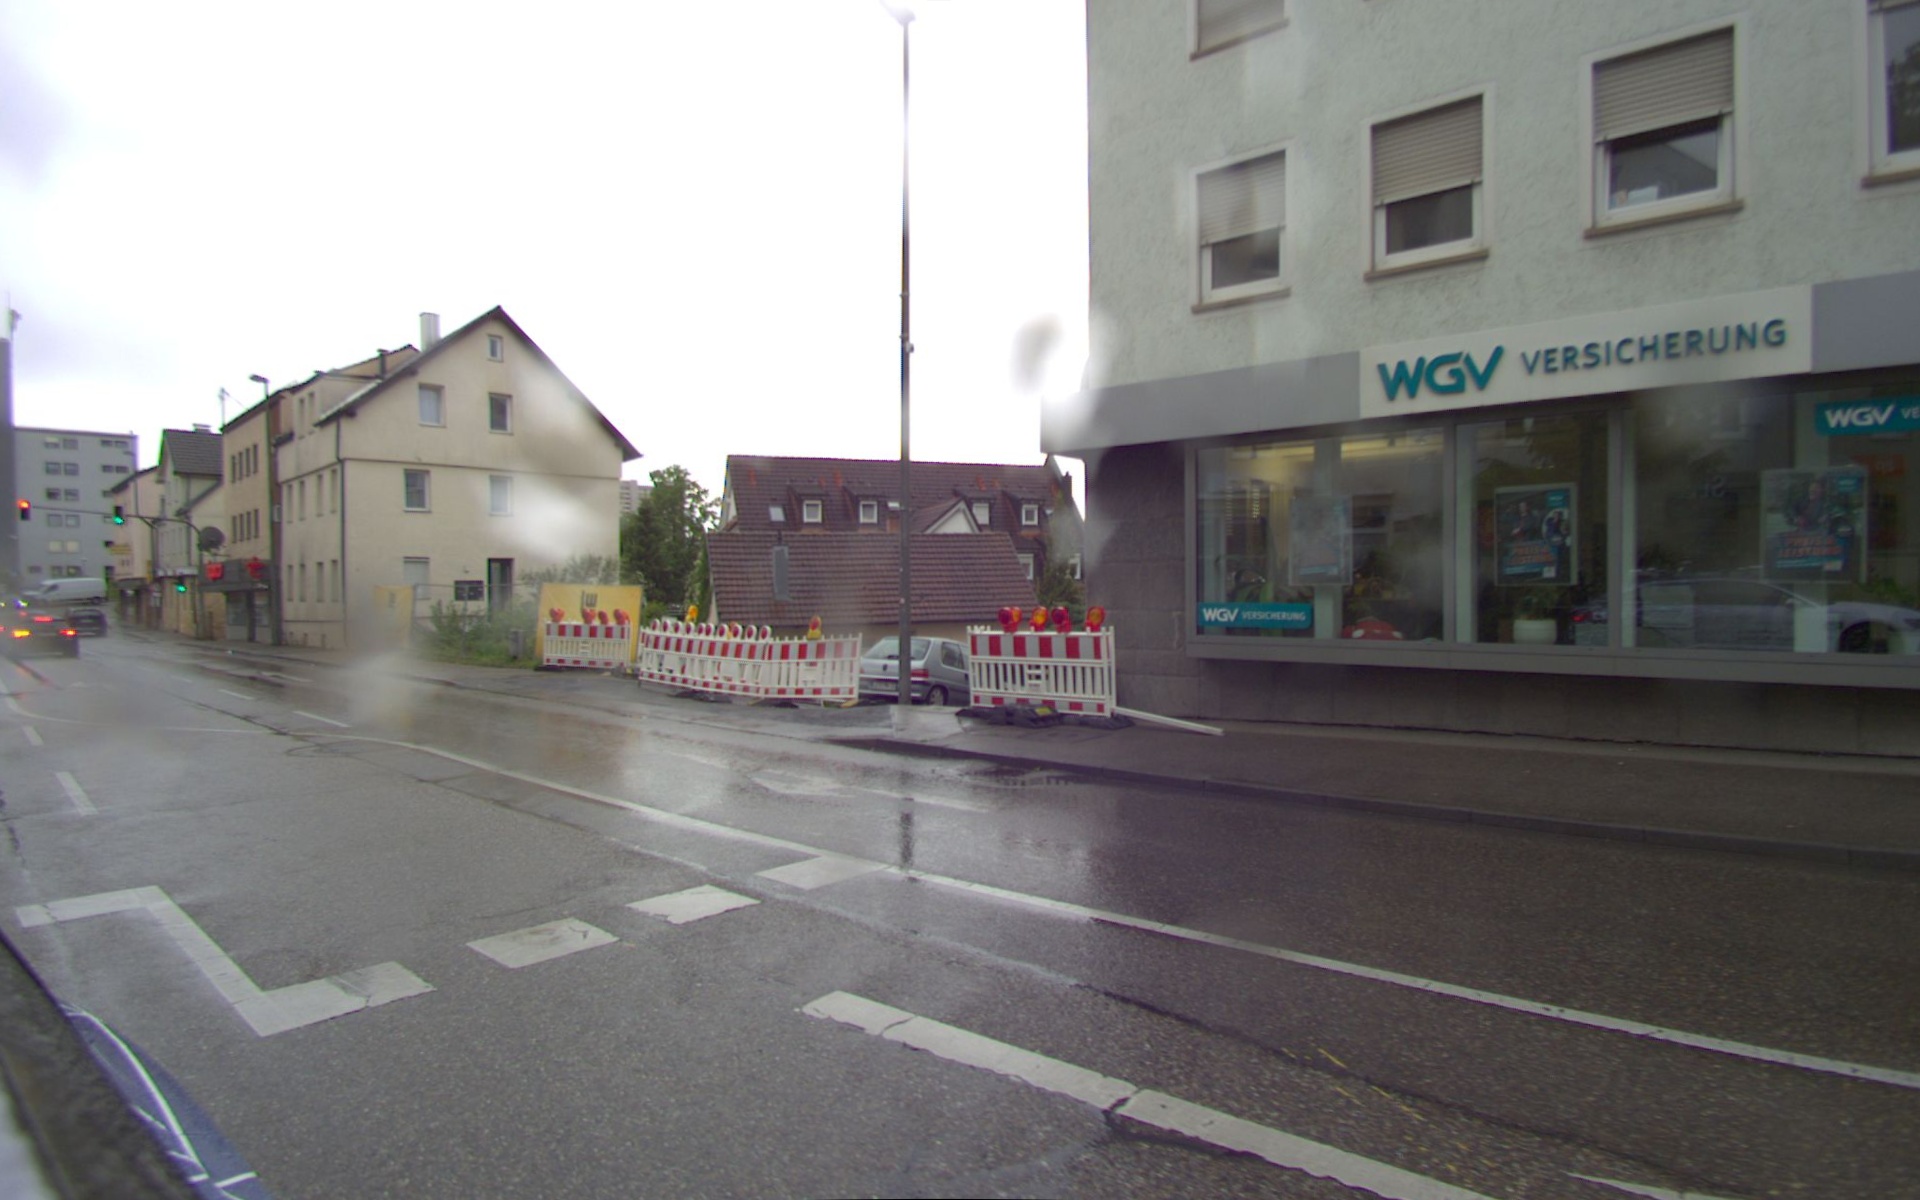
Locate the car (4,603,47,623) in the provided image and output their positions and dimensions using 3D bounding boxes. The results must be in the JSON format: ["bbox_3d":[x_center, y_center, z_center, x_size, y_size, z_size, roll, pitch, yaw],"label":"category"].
[{"bbox_3d":[-78.157,1.072,84.658,1.524,1.545,3.701,-2,1,-24],"label":"car"}]

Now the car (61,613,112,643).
[{"bbox_3d":[-47.795,1.526,55.331,4.277,1.583,1.795,-1,-1,45],"label":"car"}]

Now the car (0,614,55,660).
[{"bbox_3d":[-36.700,1.427,39.448,4.276,1.657,1.796,-2,0,44],"label":"car"}]

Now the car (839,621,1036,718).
[{"bbox_3d":[-0.290,1.271,17.436,1.647,1.401,3.468,-4,-9,35],"label":"car"}]

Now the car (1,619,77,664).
[{"bbox_3d":[-31.937,1.402,35.058,3.670,1.393,1.688,-1,0,44],"label":"car"}]

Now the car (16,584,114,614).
[{"bbox_3d":[-84.668,-0.106,95.842,2.659,2.539,6.373,-2,1,23],"label":"car"}]
